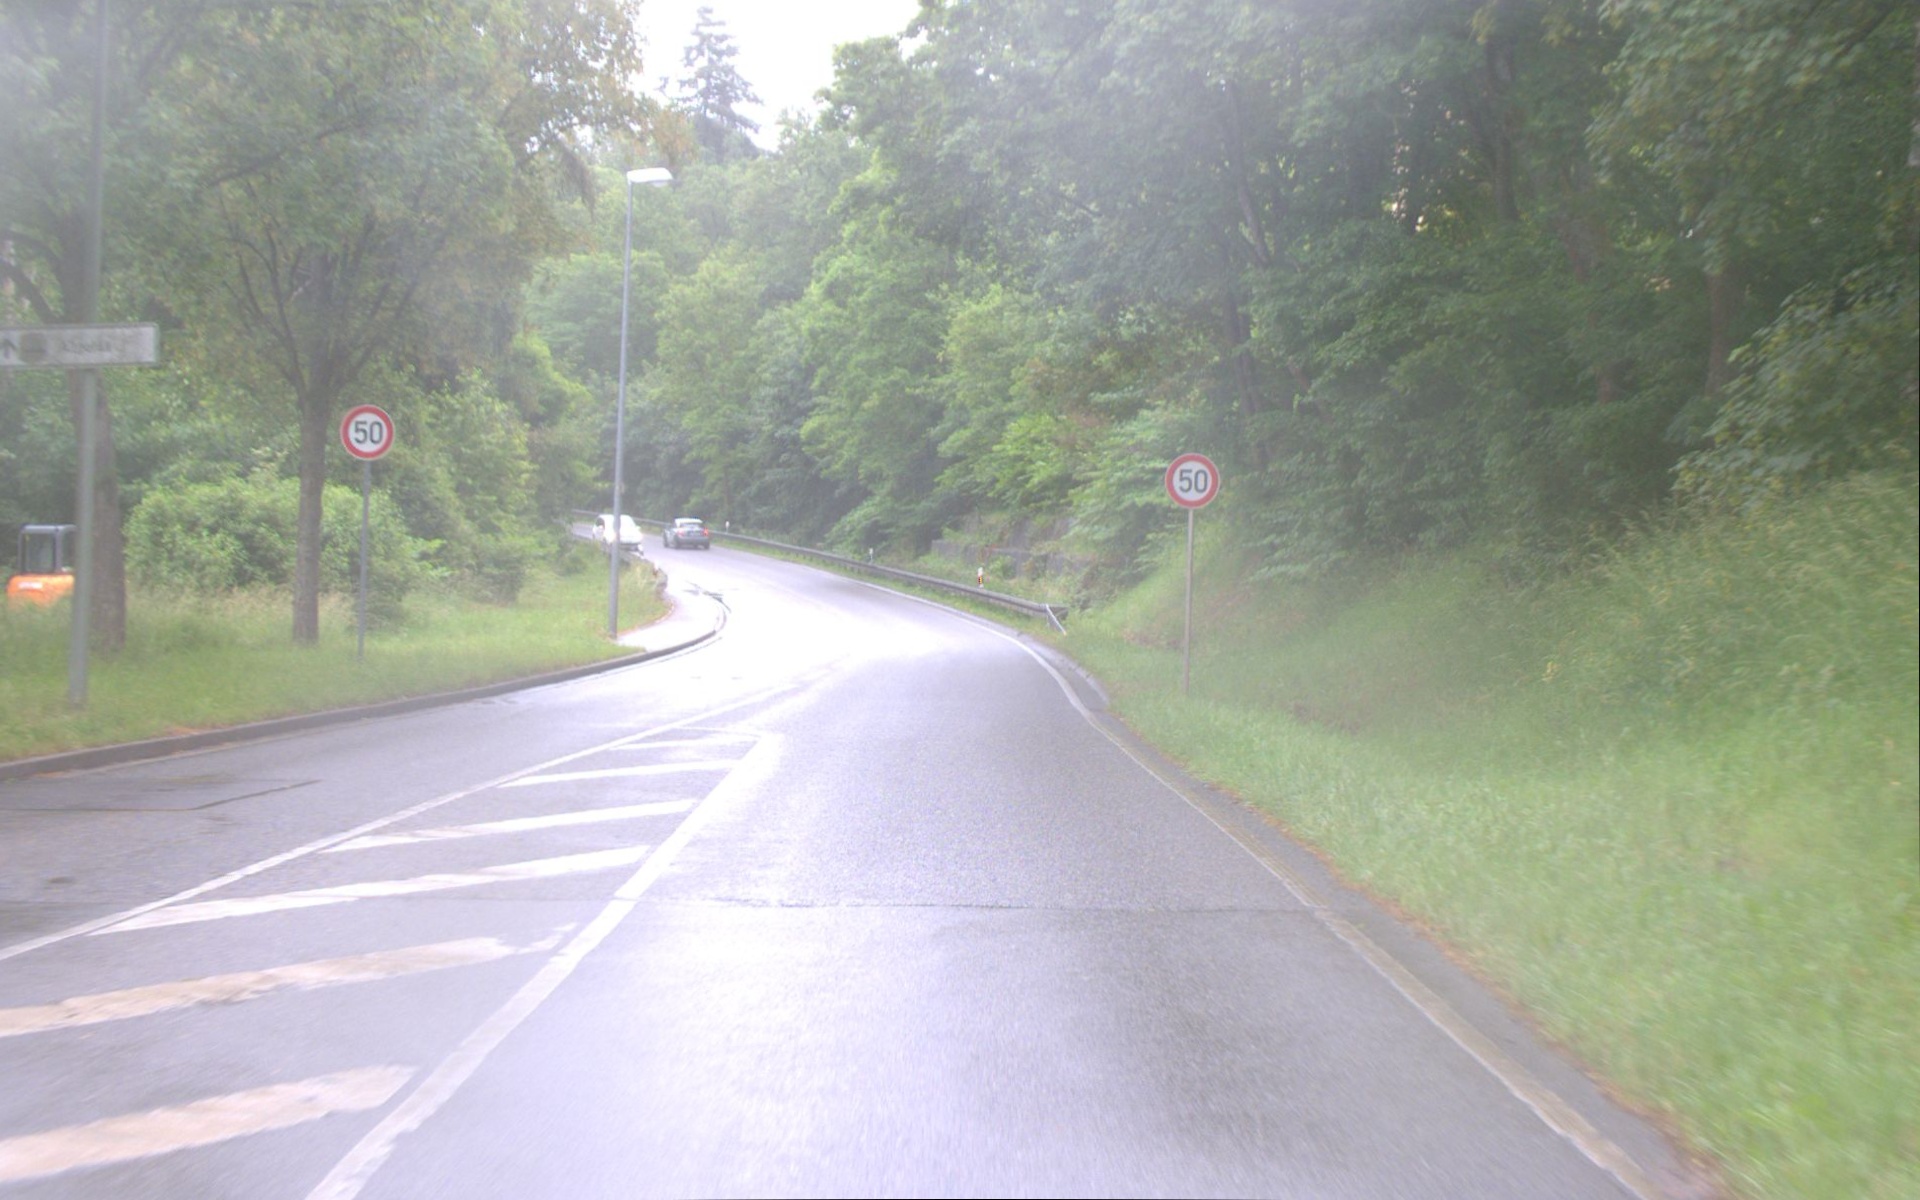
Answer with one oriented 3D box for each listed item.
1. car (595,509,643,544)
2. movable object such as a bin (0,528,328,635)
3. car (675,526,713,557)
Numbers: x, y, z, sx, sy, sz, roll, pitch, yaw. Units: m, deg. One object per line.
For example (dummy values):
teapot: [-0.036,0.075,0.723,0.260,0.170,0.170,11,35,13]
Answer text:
car: [-16.674,-3.590,168.024,1.814,1.642,4.132,0,0,-13]
movable object such as a bin: [-15.273,-0.345,64.913,1.849,1.901,7.894,1,1,30]
car: [-13.179,-2.923,170.484,1.736,1.505,4.001,0,1,-3]
